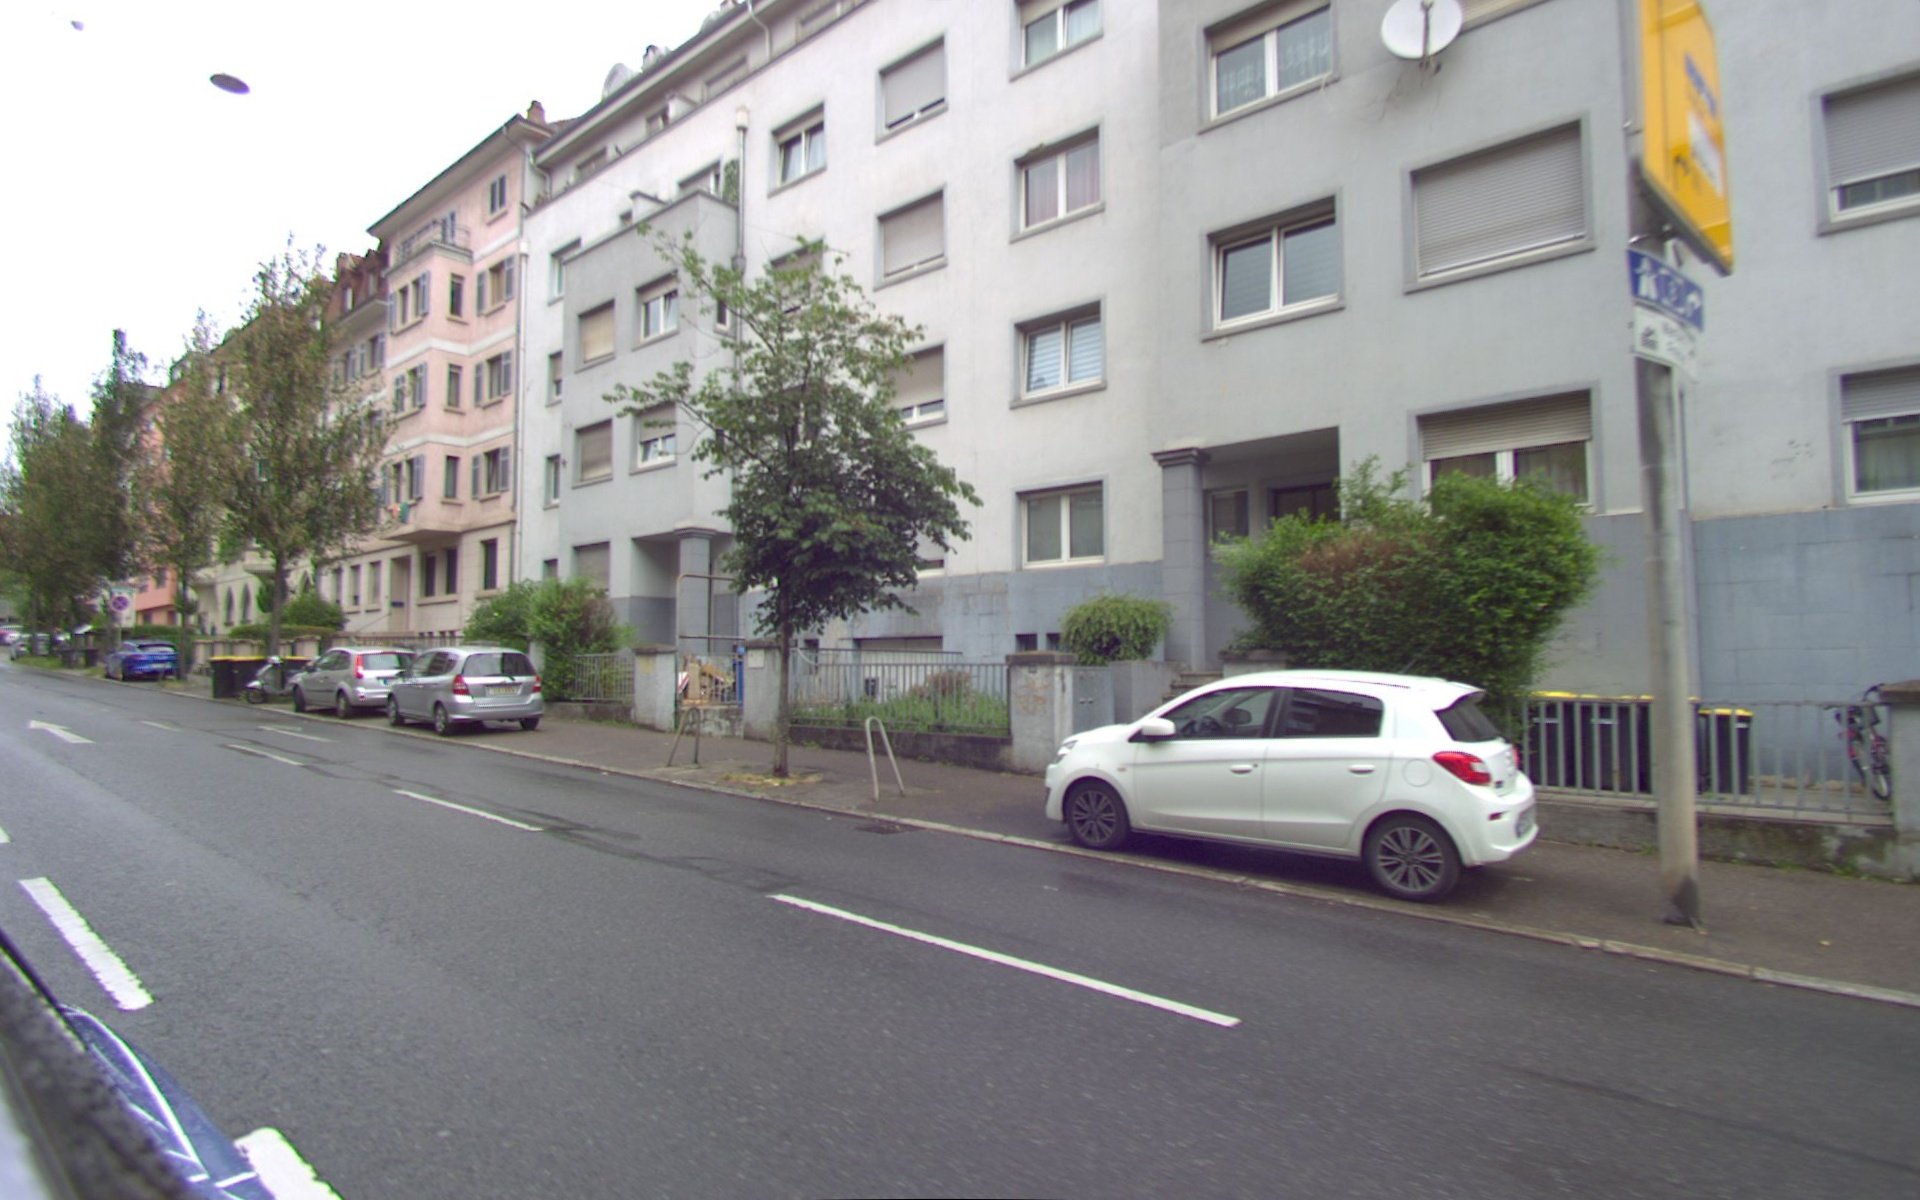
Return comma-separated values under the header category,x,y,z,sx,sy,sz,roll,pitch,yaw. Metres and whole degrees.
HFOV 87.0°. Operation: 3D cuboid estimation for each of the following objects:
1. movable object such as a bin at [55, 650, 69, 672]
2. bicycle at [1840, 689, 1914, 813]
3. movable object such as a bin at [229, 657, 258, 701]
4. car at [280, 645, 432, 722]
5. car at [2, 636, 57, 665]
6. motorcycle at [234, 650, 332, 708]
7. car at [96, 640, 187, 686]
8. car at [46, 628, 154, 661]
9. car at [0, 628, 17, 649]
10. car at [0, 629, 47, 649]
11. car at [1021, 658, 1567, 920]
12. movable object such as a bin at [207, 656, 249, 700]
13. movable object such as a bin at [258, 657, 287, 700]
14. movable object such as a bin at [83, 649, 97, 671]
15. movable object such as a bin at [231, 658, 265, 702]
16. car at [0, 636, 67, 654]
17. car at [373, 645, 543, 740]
category,x,y,z,sx,sy,sz,roll,pitch,yaw
movable object such as a bin,-38.531,2.604,43.406,0.572,0.896,0.360,-2,-2,40
bicycle,9.116,1.459,10.092,0.484,1.098,1.406,-2,-4,41
movable object such as a bin,-18.461,2.027,26.080,0.482,1.066,0.467,0,0,32
car,-12.966,1.715,21.647,3.884,1.407,1.584,0,-3,40
car,-50.036,2.706,54.392,4.136,1.428,1.663,-1,-4,41
motorcycle,-16.296,1.898,24.396,1.782,1.325,0.743,1,-3,-8
car,-28.749,2.168,35.506,4.600,1.396,1.661,0,-3,41
car,-51.943,2.664,61.183,1.917,1.919,4.672,0,-2,39
car,-85.994,3.340,89.166,1.865,1.861,3.881,0,-4,38
car,-82.907,3.429,88.851,1.592,1.634,3.878,-1,-4,41
car,2.490,1.256,8.032,3.793,1.519,1.629,-2,-3,40
movable object such as a bin,-19.024,2.017,26.302,0.483,1.066,0.816,0,0,42
movable object such as a bin,-17.723,2.023,26.087,0.482,1.066,0.467,0,0,32
movable object such as a bin,-38.005,2.610,44.187,0.572,0.918,0.360,0,-1,40
movable object such as a bin,-17.944,2.012,25.516,0.480,1.066,0.522,0,0,19
car,-74.991,3.658,81.889,1.646,1.307,3.878,-1,-4,41
car,-9.252,1.608,18.525,3.889,1.462,1.582,-1,-3,45
